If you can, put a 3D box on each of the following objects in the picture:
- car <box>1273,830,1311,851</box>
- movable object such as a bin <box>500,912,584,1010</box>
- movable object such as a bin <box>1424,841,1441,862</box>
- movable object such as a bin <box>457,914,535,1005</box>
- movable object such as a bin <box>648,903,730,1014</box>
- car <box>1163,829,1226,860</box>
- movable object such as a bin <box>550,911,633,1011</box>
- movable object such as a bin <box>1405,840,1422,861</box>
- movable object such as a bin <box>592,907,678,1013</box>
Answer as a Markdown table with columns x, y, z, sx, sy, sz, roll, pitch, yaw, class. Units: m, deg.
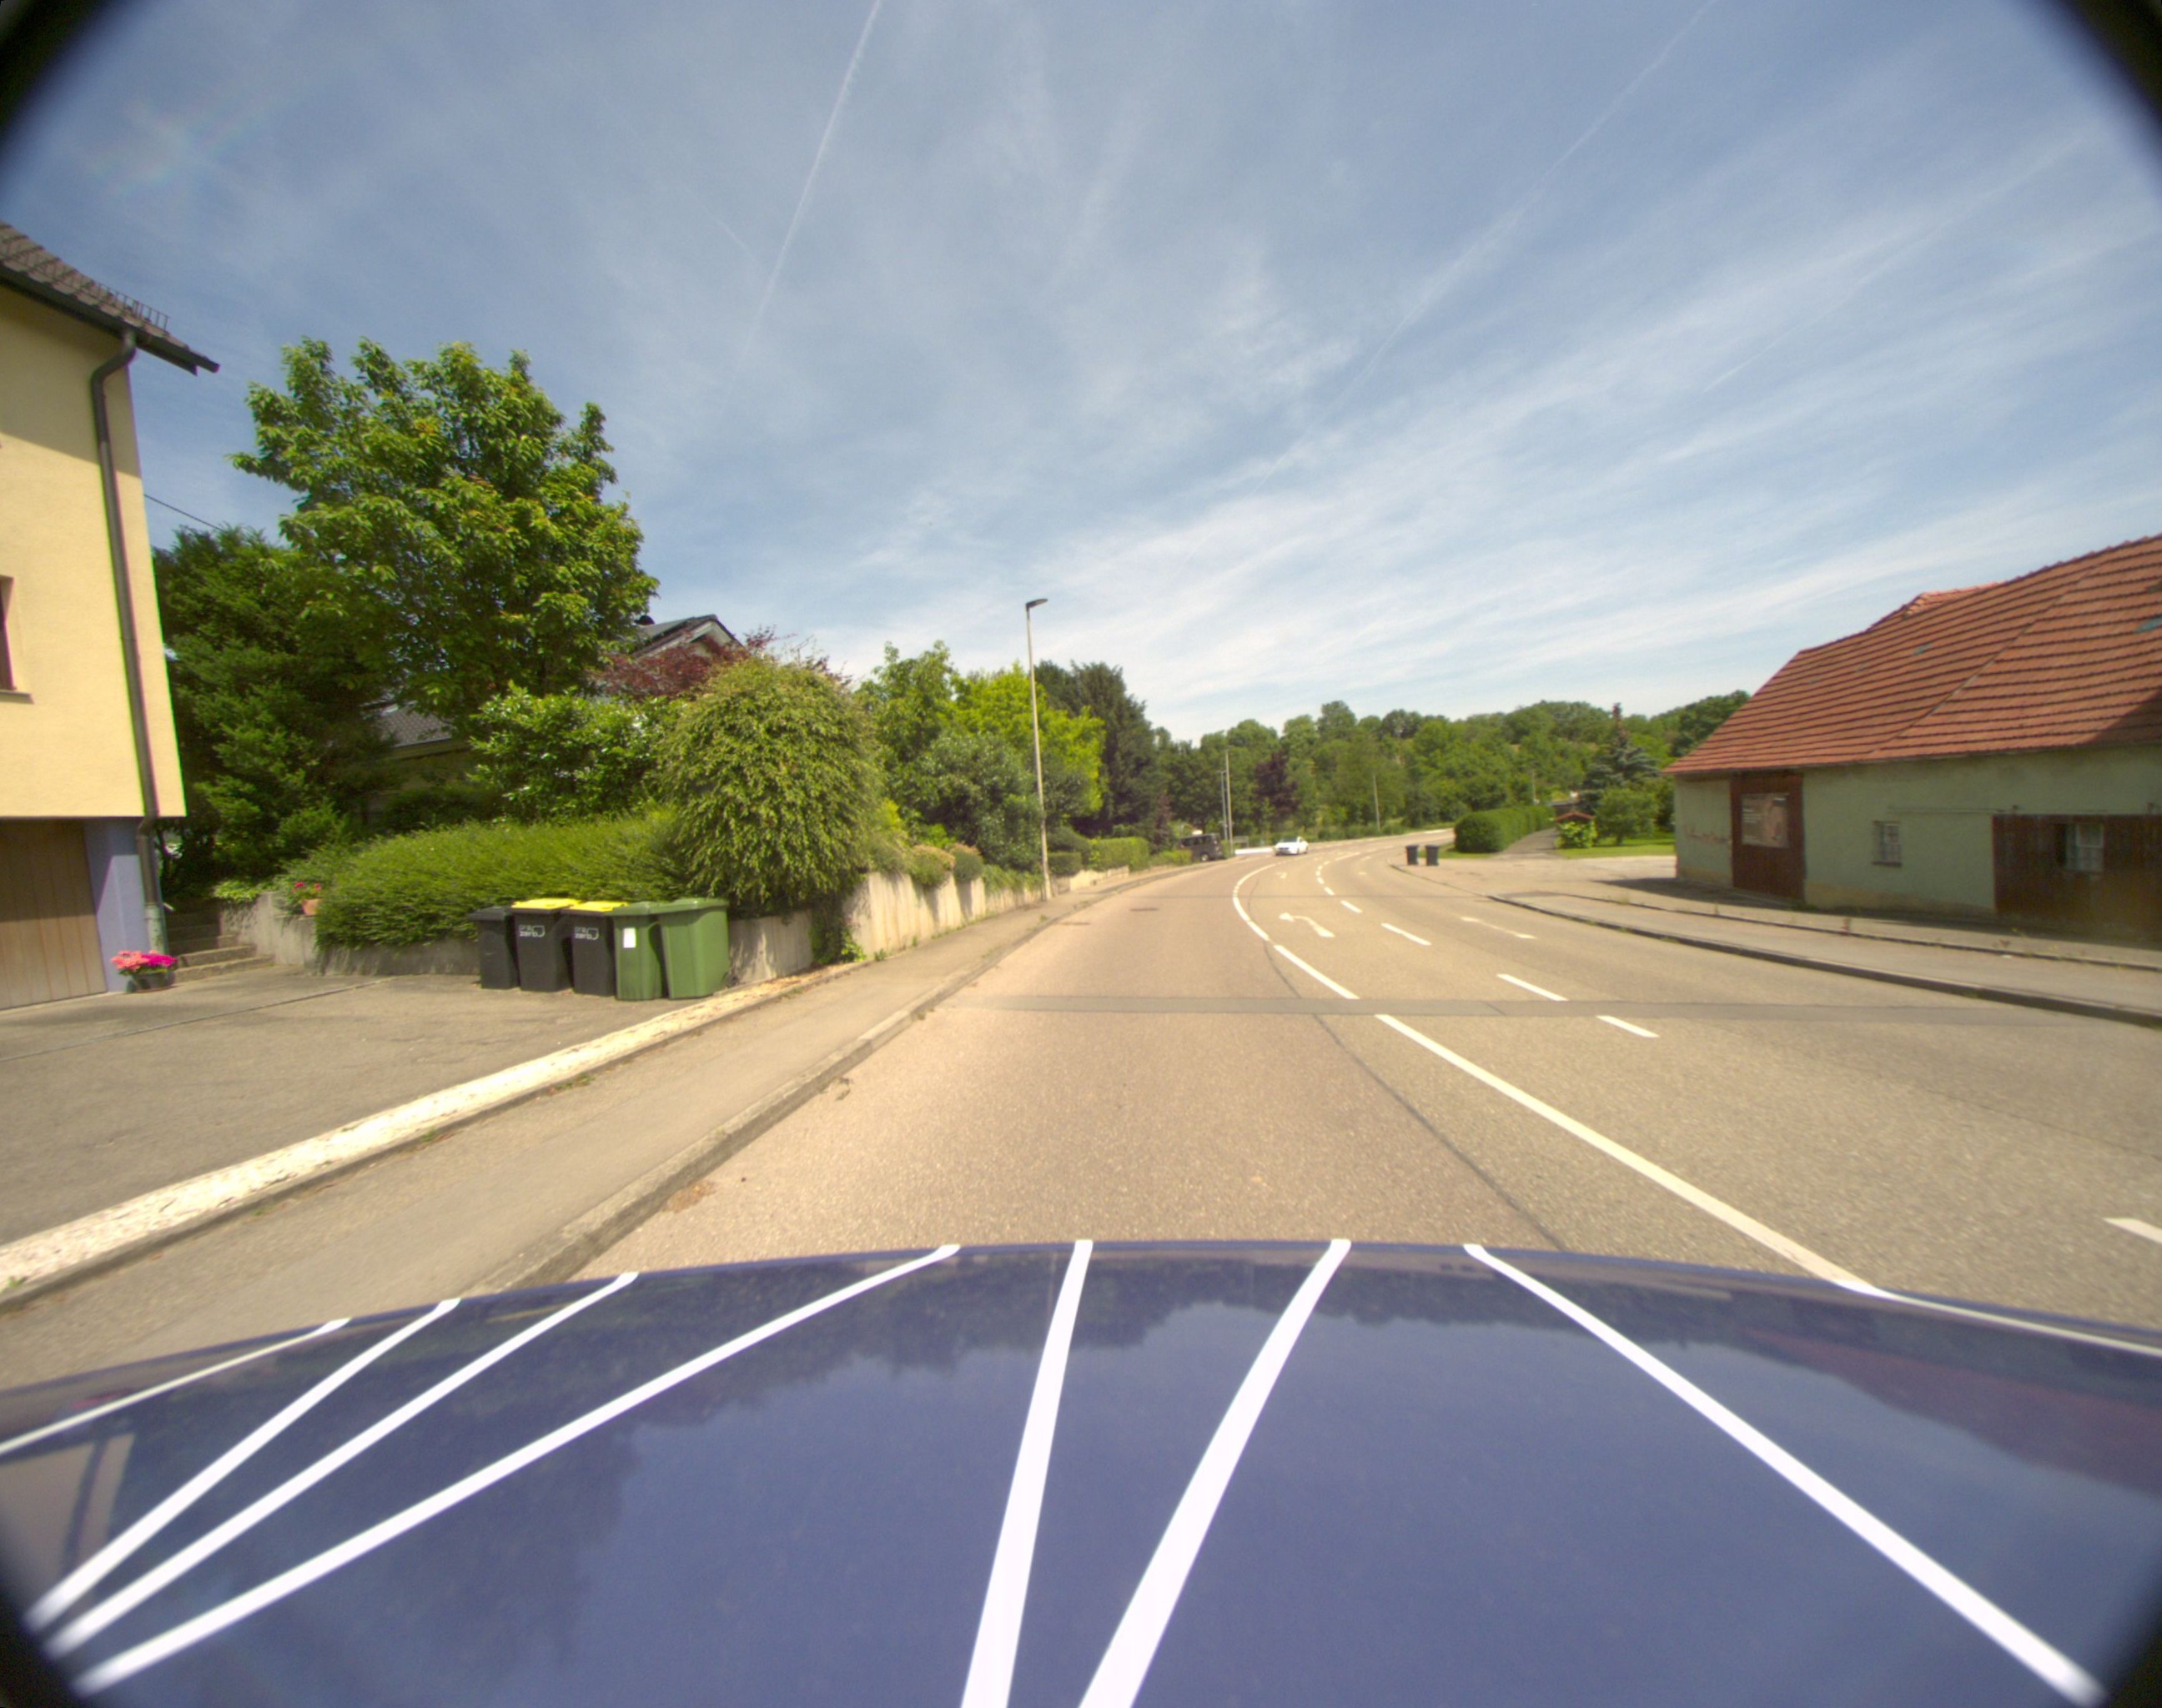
| x | y | z | sx | sy | sz | roll | pitch | yaw | class |
| --- | --- | --- | --- | --- | --- | --- | --- | --- | --- |
| 17.137 | -1.100 | 61.568 | 1.823 | 1.543 | 4.007 | -3 | 0 | 31 | car |
| -6.058 | 1.186 | 8.559 | 0.485 | 1.016 | 0.565 | 0 | 2 | 13 | movable object such as a bin |
| 17.807 | -0.113 | 38.507 | 0.534 | 1.044 | 0.541 | -4 | 1 | -2 | movable object such as a bin |
| -6.620 | 1.182 | 8.614 | 0.449 | 0.950 | 0.515 | 0 | 1 | 9 | movable object such as a bin |
| -4.225 | 1.114 | 8.213 | 0.485 | 1.101 | 0.564 | -3 | 1 | 8 | movable object such as a bin |
| 8.056 | -0.692 | 53.890 | 3.902 | 1.938 | 1.958 | -3 | 1 | 24 | car |
| -5.425 | 1.167 | 8.444 | 0.485 | 1.016 | 0.565 | 0 | 2 | 13 | movable object such as a bin |
| 17.583 | -0.166 | 40.164 | 0.608 | 1.075 | 0.541 | -4 | 1 | -2 | movable object such as a bin |
| -4.855 | 1.141 | 8.293 | 0.485 | 1.064 | 0.565 | -3 | 1 | 13 | movable object such as a bin |
